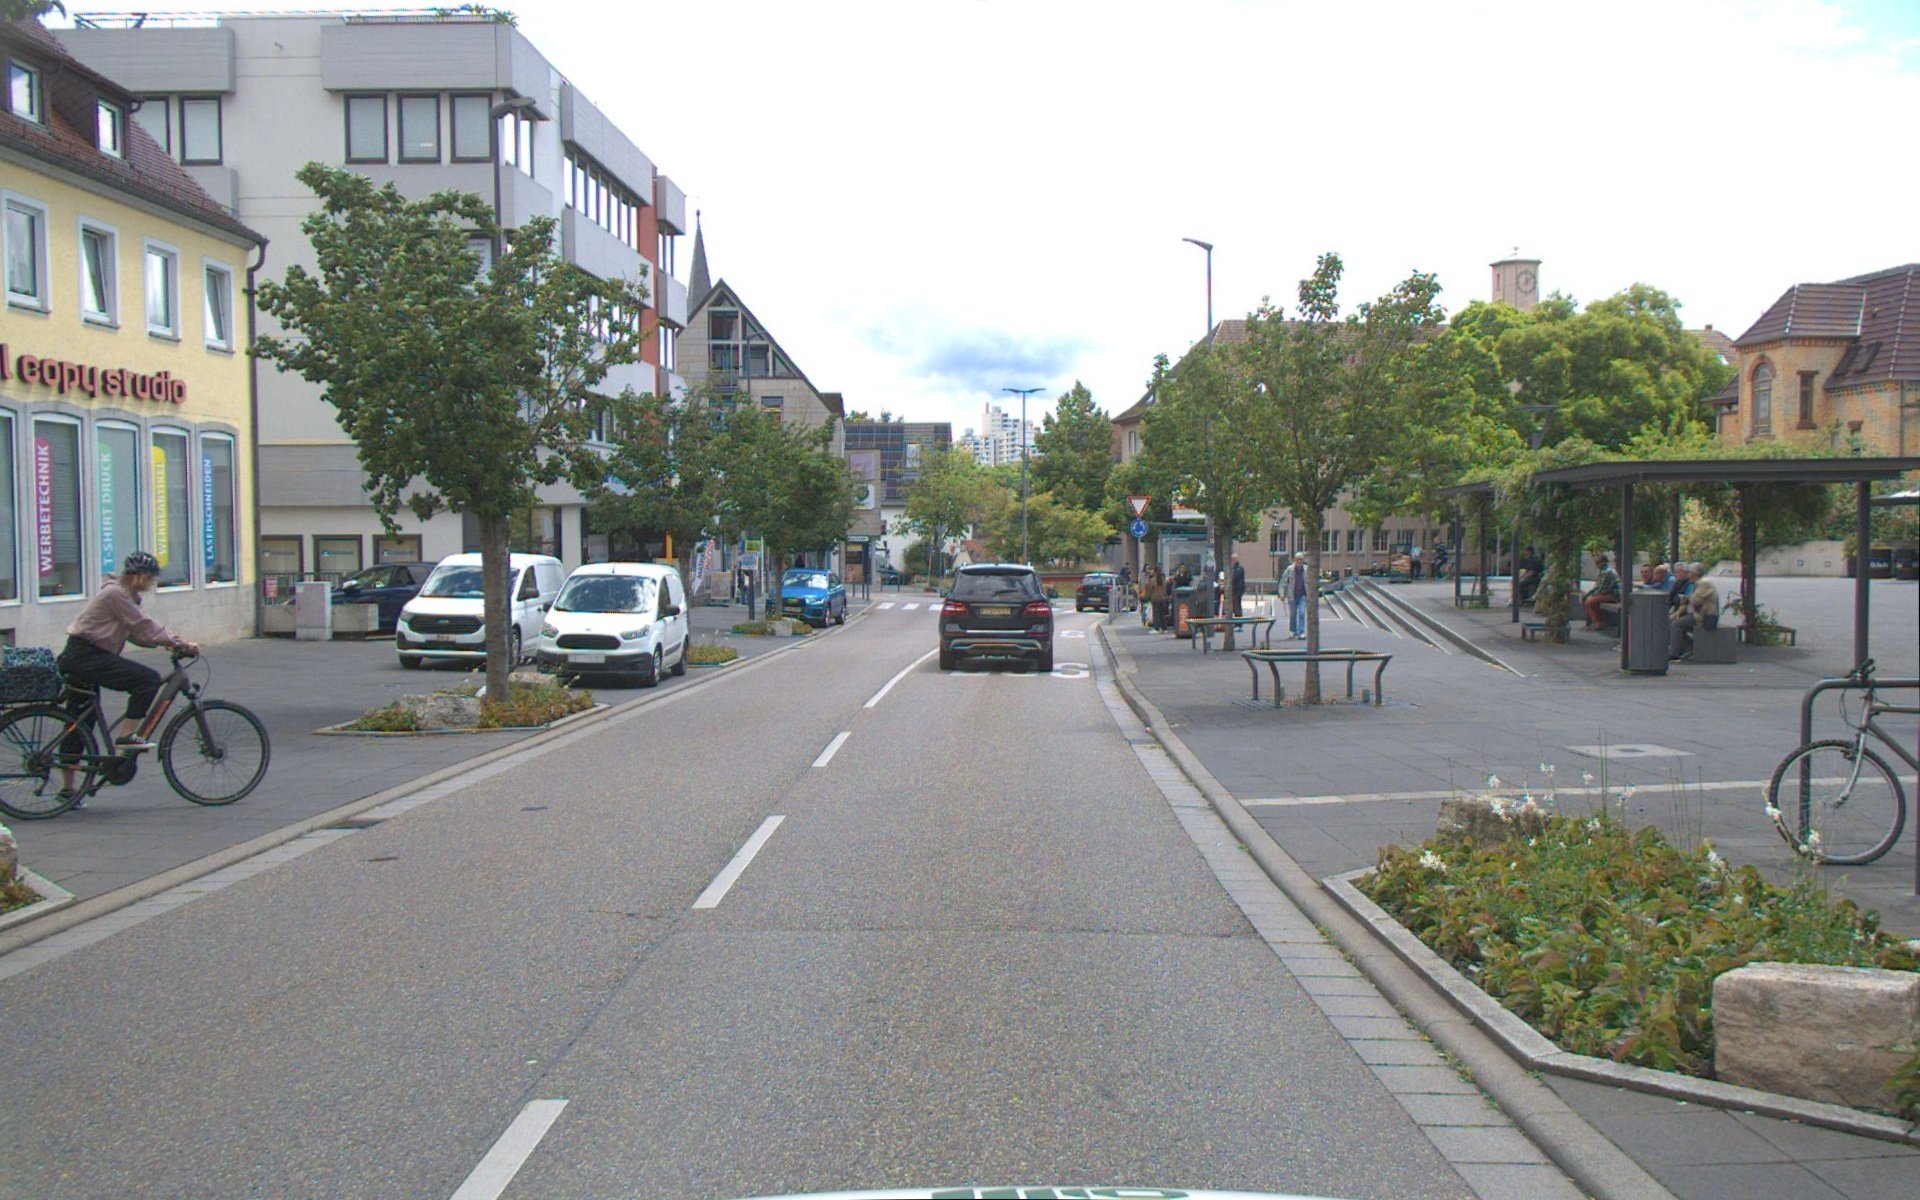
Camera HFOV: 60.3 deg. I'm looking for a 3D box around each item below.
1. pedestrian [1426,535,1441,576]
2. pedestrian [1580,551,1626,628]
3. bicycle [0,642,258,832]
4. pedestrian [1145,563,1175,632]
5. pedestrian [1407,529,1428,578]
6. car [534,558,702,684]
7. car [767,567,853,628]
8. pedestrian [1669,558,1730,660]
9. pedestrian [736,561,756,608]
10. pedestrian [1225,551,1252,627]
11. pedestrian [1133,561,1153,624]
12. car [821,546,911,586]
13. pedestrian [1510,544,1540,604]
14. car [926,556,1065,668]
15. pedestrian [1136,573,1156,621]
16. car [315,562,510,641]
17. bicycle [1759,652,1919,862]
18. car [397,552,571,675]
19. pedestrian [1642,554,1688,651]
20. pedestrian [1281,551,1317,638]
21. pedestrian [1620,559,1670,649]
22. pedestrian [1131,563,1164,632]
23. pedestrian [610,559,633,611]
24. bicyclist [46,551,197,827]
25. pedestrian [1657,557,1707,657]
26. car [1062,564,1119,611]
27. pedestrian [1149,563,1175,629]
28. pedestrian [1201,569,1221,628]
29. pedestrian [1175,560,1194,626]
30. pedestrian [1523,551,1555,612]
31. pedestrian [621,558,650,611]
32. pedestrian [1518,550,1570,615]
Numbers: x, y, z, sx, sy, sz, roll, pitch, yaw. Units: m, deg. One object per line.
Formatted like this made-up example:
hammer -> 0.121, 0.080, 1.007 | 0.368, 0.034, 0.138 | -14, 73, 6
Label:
pedestrian -> 15.218, -1.444, 53.190 | 0.355, 1.307, 0.642 | -1, 2, 8
pedestrian -> 11.305, -0.193, 29.095 | 0.610, 1.330, 0.546 | -1, 1, 7
bicycle -> -5.500, 0.863, 10.785 | 1.637, 1.106, 0.408 | -2, 0, -38
pedestrian -> 4.575, -0.057, 37.795 | 0.503, 1.576, 0.486 | -1, 1, 29
pedestrian -> 14.590, -1.476, 52.734 | 0.495, 1.534, 0.451 | -1, 2, -21
car -> -5.014, 0.255, 24.797 | 1.622, 1.701, 4.350 | 1, 1, -1
car -> -4.319, -0.110, 48.116 | 1.659, 1.627, 4.335 | 3, 1, 5
pedestrian -> 10.004, 0.115, 22.396 | 0.603, 1.343, 0.586 | -1, 3, 6
pedestrian -> -7.527, -0.553, 58.158 | 0.574, 1.616, 0.639 | 1, 1, 4
pedestrian -> 6.357, -0.250, 37.772 | 0.500, 1.709, 0.576 | -1, 1, 3
pedestrian -> 4.813, -0.198, 43.504 | 0.379, 1.648, 0.469 | -2, 1, 18
car -> -6.790, -2.416, 119.546 | 6.188, 2.605, 2.195 | 1, -2, -18
pedestrian -> 12.657, -0.583, 37.047 | 0.555, 1.346, 0.546 | 0, 1, 12
car -> 0.519, 0.222, 28.513 | 1.987, 1.757, 4.429 | 1, -1, -4
pedestrian -> 4.817, -0.078, 42.861 | 0.395, 1.247, 0.388 | -1, 1, 25
car -> -11.380, 0.022, 34.541 | 3.555, 1.585, 1.667 | 0, 1, -4
bicycle -> 5.064, 0.786, 8.600 | 1.693, 1.013, 0.345 | -2, 1, -6
car -> -7.782, 0.165, 27.445 | 1.721, 1.845, 4.475 | 1, 1, -2
pedestrian -> 10.085, 0.031, 23.664 | 0.487, 1.343, 0.525 | -1, 3, 7
pedestrian -> 6.726, -0.116, 32.802 | 0.670, 1.711, 0.715 | -1, 1, 14
pedestrian -> 10.087, 0.052, 24.367 | 0.556, 1.283, 0.542 | -1, 3, 7
pedestrian -> 4.328, -0.053, 38.177 | 0.482, 1.576, 0.535 | -2, 1, -43
pedestrian -> -10.447, -0.468, 51.019 | 0.499, 1.593, 0.587 | -1, 1, 4
bicyclist -> -5.483, 0.551, 10.814 | 0.769, 1.724, 0.503 | -2, 1, -37
pedestrian -> 10.044, 0.090, 23.026 | 0.484, 1.343, 0.576 | -1, 3, 6
car -> 4.904, -0.510, 62.630 | 2.009, 1.615, 4.376 | 3, 1, 4
pedestrian -> 4.938, -0.107, 40.444 | 0.491, 1.593, 0.497 | -1, 1, -9
pedestrian -> 5.746, -0.037, 37.865 | 0.381, 1.329, 0.355 | -2, 1, 5
pedestrian -> 5.499, -0.176, 40.540 | 0.385, 1.593, 0.352 | -1, 1, -3
pedestrian -> 11.970, -0.391, 34.215 | 0.555, 1.249, 0.567 | 0, 1, 12
pedestrian -> -9.889, -0.484, 50.440 | 0.629, 1.593, 0.587 | -1, 1, 16
pedestrian -> 11.766, -0.354, 33.330 | 0.670, 1.291, 0.759 | -1, 2, -41
